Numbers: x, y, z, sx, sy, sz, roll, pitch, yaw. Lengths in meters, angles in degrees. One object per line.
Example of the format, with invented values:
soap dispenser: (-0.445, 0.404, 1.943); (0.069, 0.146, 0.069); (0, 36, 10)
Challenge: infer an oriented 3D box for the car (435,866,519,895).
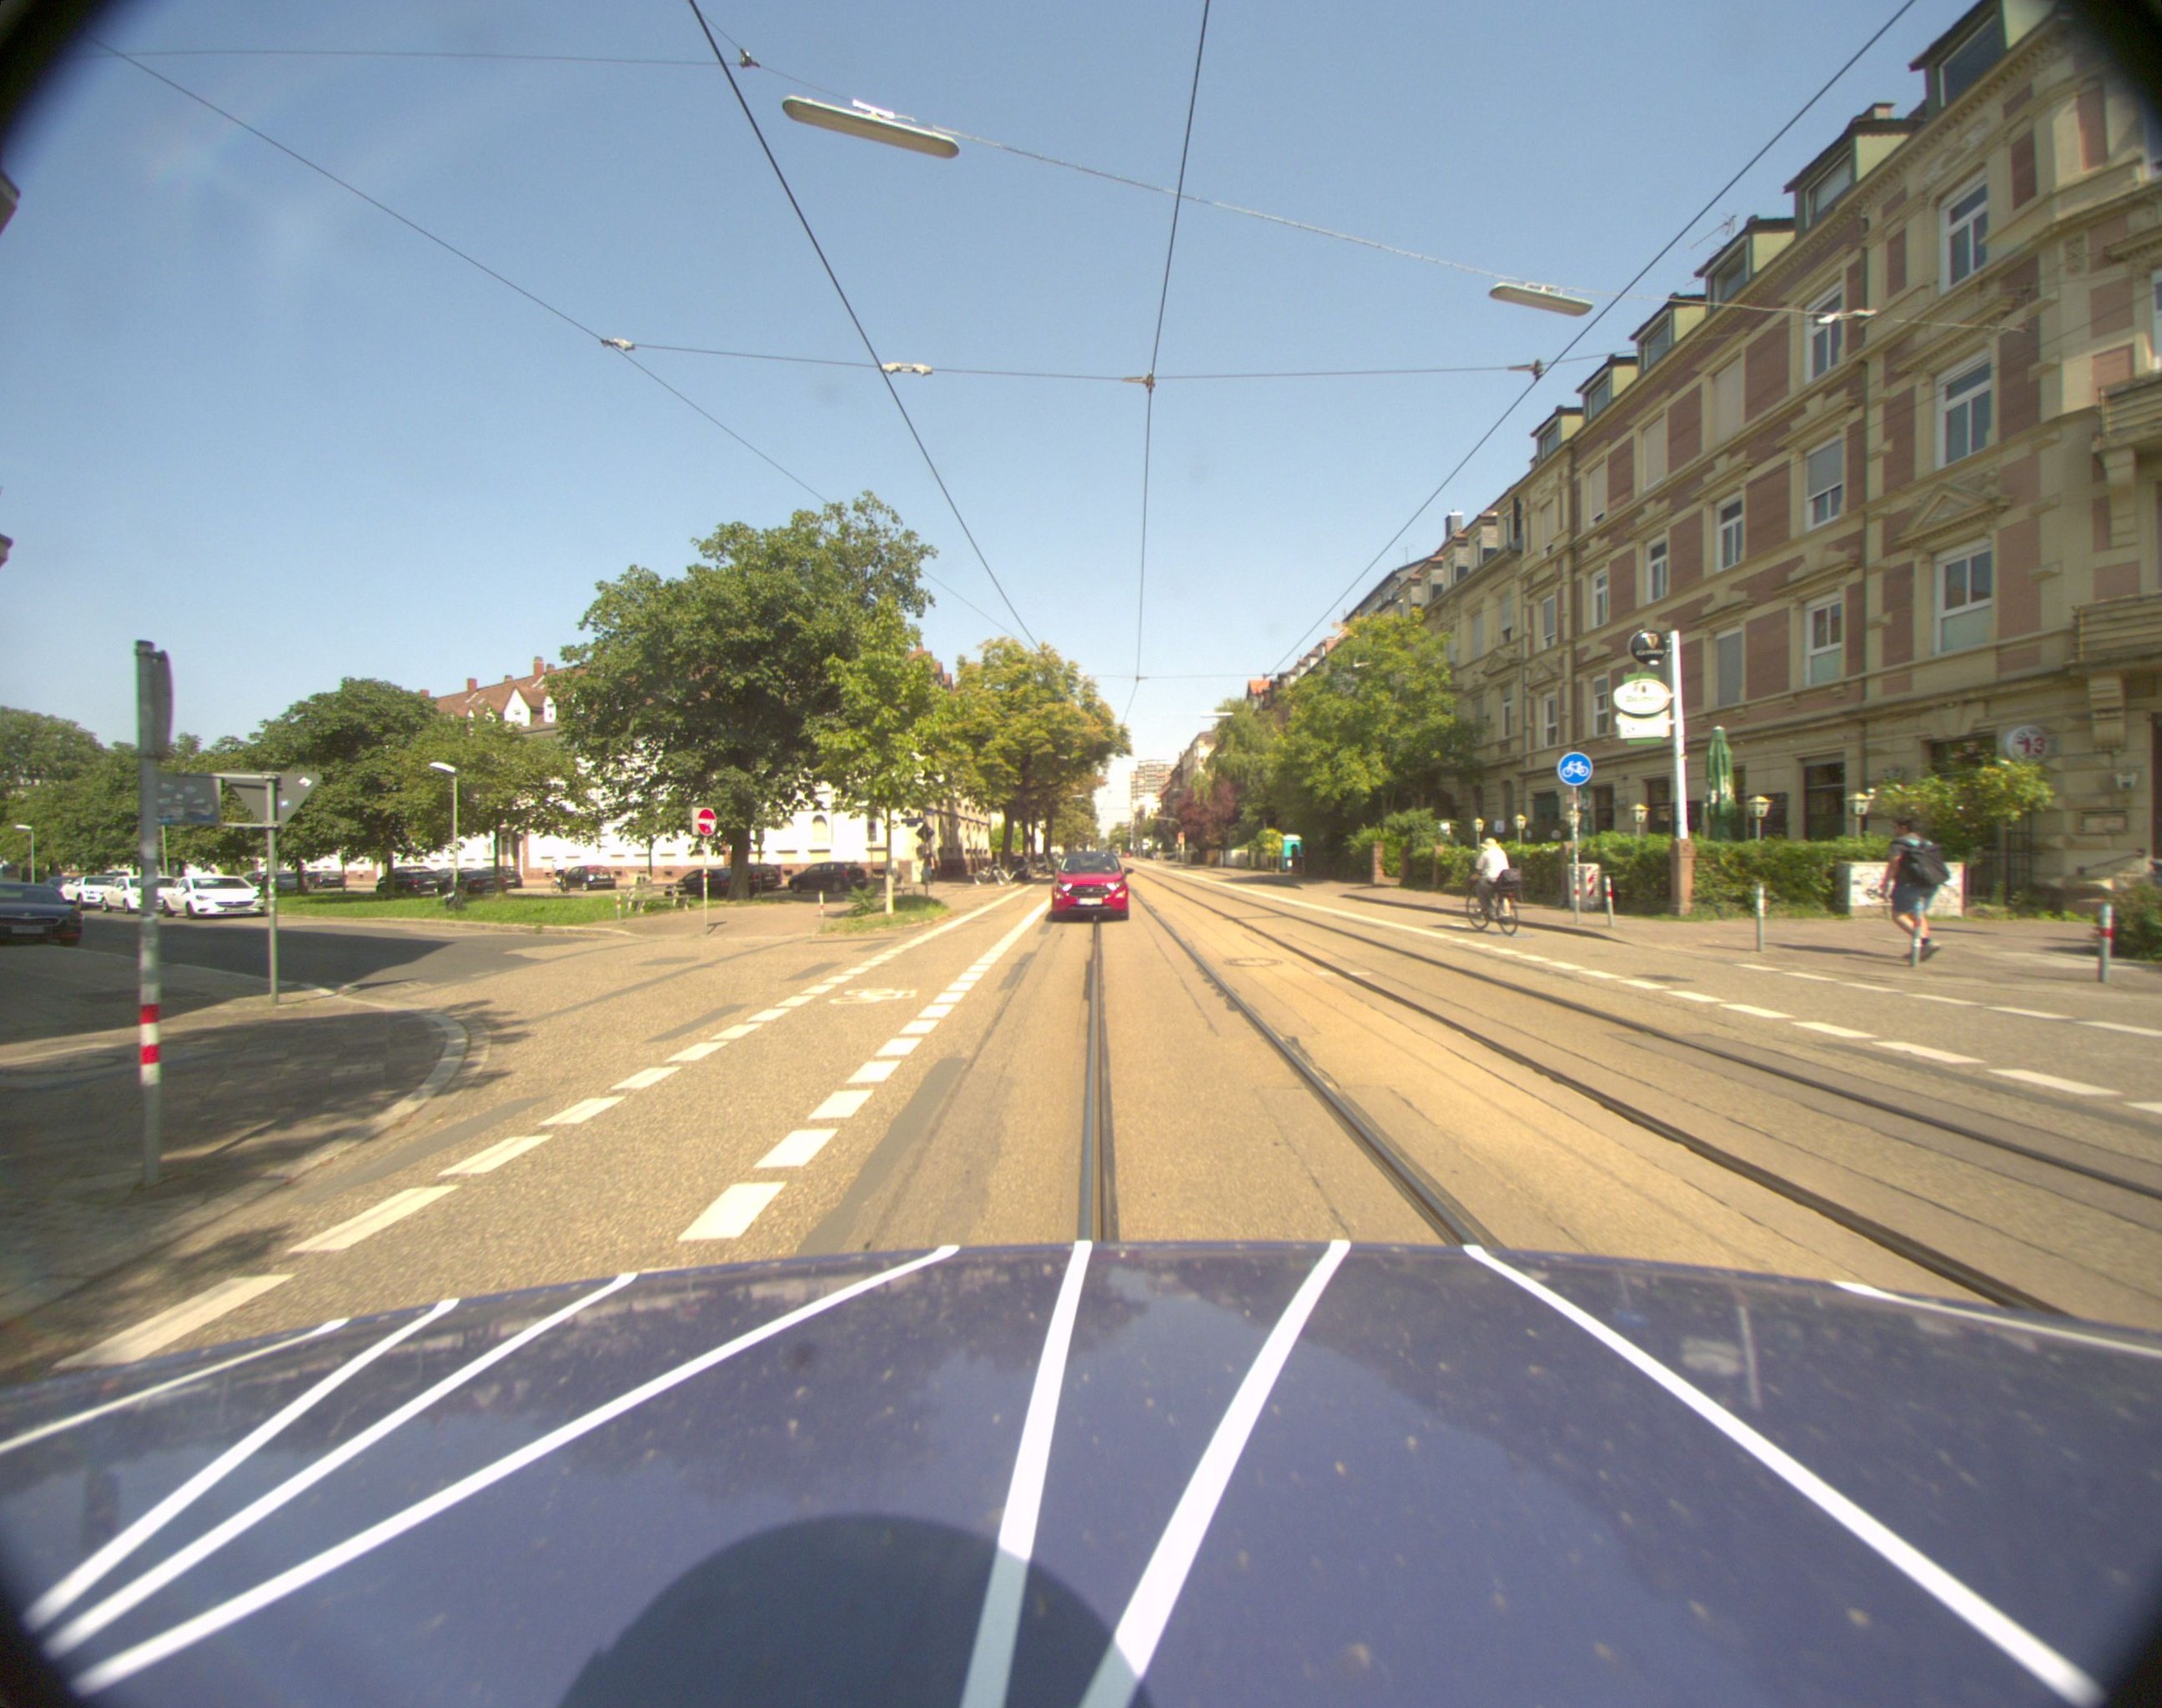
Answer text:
car: (-31.487, 1.363, 39.599); (4.266, 1.422, 1.841); (-1, 1, 28)

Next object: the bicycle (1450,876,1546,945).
bicycle: (7.383, 0.965, 13.557); (0.642, 1.070, 1.915); (-1, 1, 0)

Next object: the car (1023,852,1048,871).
car: (-3.656, 0.587, 61.797); (1.598, 1.489, 4.052); (-1, 0, 2)

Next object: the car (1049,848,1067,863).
car: (-2.343, 0.158, 78.669); (1.598, 1.489, 4.052); (-1, 0, 2)

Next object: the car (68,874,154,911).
car: (-41.947, 1.624, 32.856); (3.989, 1.470, 1.602); (-1, 1, 28)

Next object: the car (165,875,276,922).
car: (-30.153, 1.500, 26.605); (3.989, 1.470, 1.691); (-1, 1, 28)

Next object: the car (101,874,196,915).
car: (-36.598, 1.538, 29.814); (3.989, 1.470, 1.602); (-1, 1, 28)

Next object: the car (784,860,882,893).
car: (-11.454, 1.020, 35.144); (3.990, 1.435, 1.978); (-1, 1, 24)

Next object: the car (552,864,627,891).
car: (-28.554, 1.346, 44.122); (3.989, 1.430, 1.979); (-1, 1, 28)

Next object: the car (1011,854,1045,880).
car: (-3.188, 0.753, 46.275); (1.598, 1.489, 4.052); (-1, 0, 2)

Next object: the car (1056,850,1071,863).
car: (-2.071, 0.258, 91.238); (1.555, 1.489, 4.265); (-1, 0, 2)

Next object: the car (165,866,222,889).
car: (-69.163, 1.800, 59.232); (3.989, 1.726, 2.048); (-1, 1, 28)

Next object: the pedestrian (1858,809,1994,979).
pedestrian: (10.456, 0.468, 9.444); (0.656, 2.002, 0.975); (0, 1, 10)

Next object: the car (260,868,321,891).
car: (-53.597, 1.720, 51.526); (3.989, 1.422, 1.841); (-1, 1, 28)

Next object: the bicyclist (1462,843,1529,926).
bicyclist: (7.369, 0.515, 13.552); (0.657, 1.420, 0.974); (-1, 1, 0)

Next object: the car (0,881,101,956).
car: (-25.015, 1.454, 17.746); (4.318, 1.532, 1.884); (-1, 1, 28)

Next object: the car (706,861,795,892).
car: (-16.434, 1.089, 37.800); (3.989, 1.430, 1.979); (-1, 1, 28)

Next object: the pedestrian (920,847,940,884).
pedestrian: (-7.228, 0.545, 36.357); (0.749, 1.775, 0.632); (-1, 1, 2)

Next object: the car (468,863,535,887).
car: (-37.677, 1.344, 49.377); (3.989, 1.430, 1.979); (-1, 1, 28)

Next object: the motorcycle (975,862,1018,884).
motorcycle: (-4.191, 0.931, 37.829); (1.999, 1.009, 0.796); (2, 1, 1)

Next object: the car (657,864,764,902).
car: (-14.908, 1.132, 30.541); (3.989, 1.422, 1.841); (-1, 1, 28)

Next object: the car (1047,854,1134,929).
car: (0.306, 0.806, 18.279); (1.815, 1.542, 4.021); (-2, 0, 3)
